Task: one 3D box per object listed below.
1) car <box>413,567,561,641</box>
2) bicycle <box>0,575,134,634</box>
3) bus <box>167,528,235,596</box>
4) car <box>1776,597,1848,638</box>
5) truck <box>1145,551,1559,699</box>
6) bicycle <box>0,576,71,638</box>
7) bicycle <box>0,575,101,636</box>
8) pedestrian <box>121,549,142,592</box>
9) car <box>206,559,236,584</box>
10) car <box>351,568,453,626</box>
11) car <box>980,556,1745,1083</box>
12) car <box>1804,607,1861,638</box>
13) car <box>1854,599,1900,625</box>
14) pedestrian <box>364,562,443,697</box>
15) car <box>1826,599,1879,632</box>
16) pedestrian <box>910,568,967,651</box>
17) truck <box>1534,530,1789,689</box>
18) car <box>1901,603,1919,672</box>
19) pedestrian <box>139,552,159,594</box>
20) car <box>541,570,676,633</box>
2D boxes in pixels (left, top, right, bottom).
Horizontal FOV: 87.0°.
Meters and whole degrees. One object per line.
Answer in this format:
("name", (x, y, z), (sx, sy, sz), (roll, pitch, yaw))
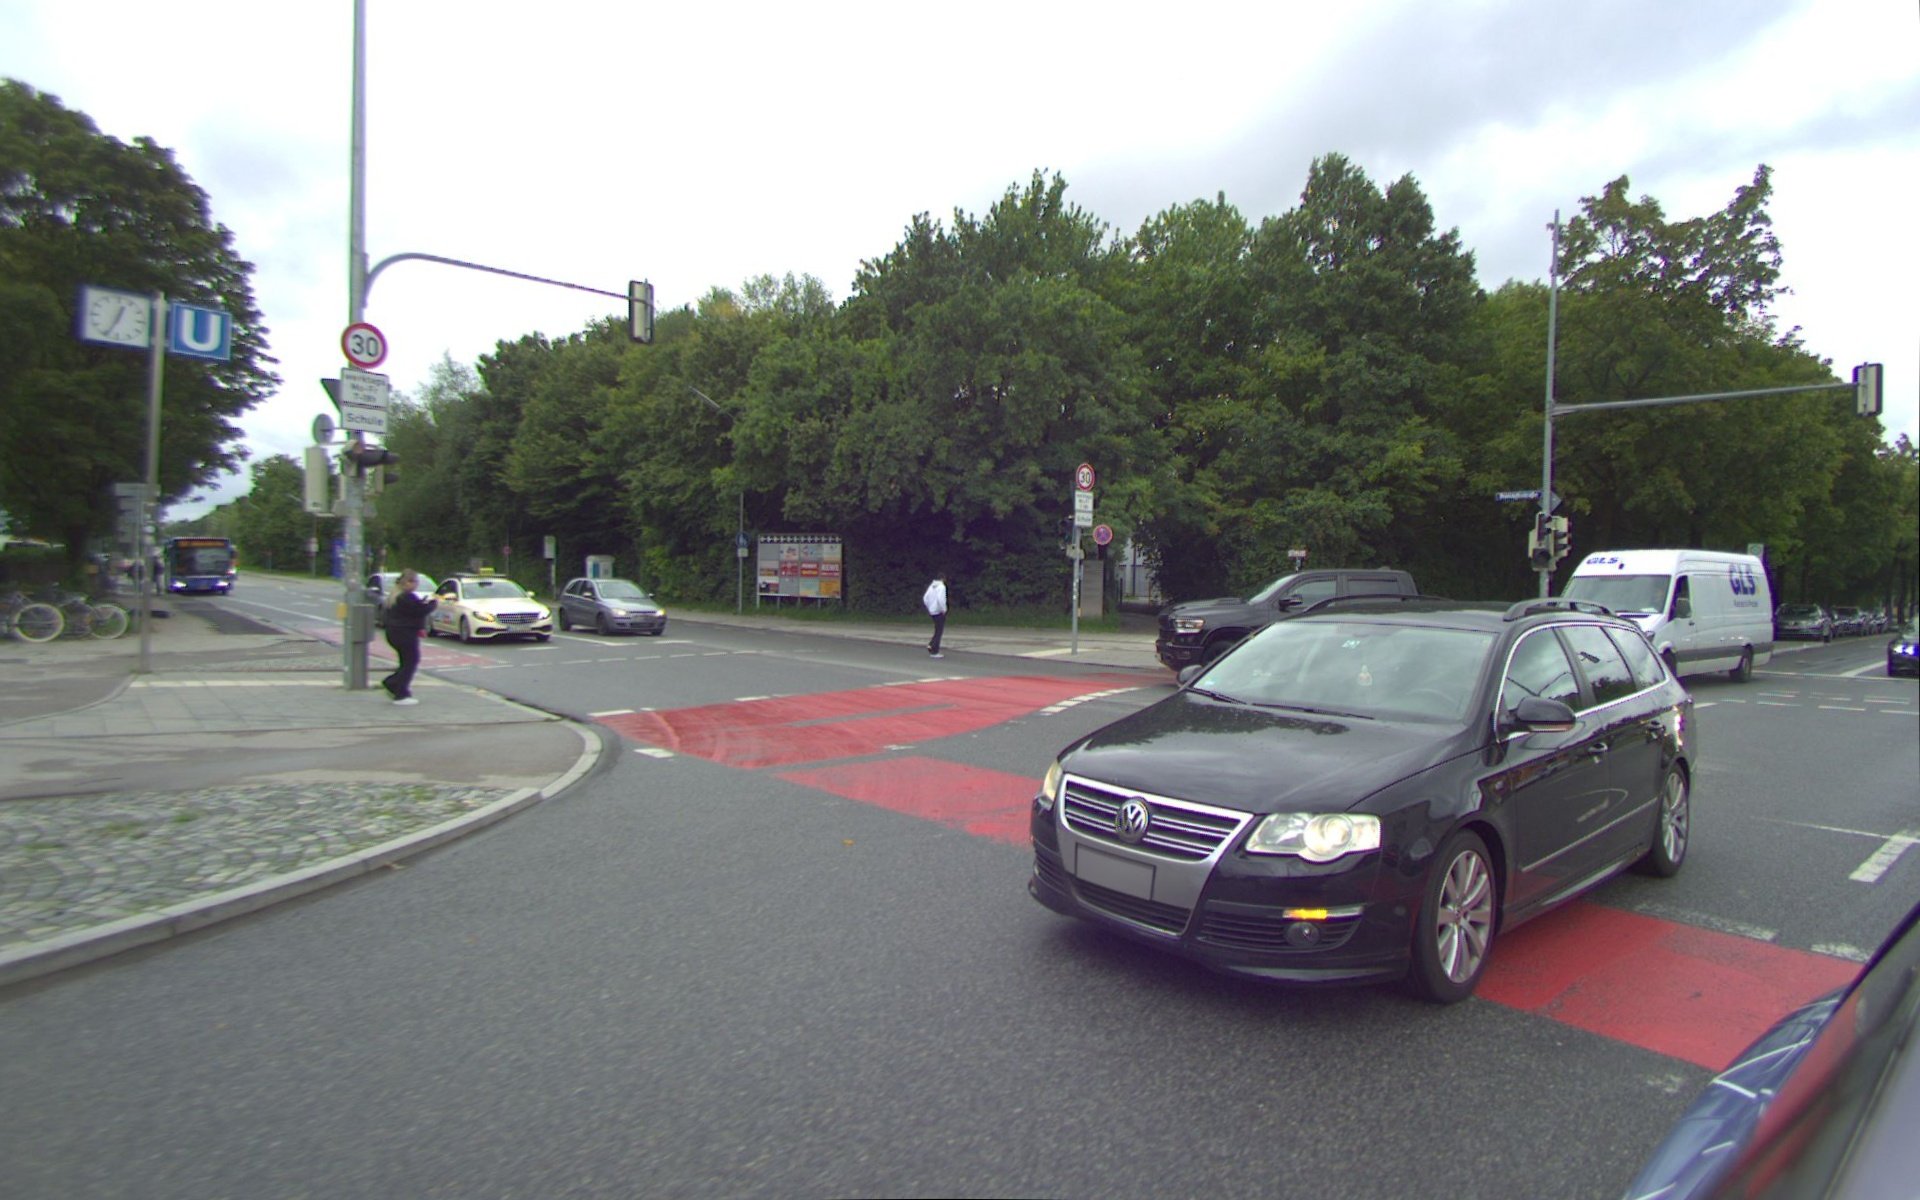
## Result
("car", (-11.120, 0.044, 23.634), (1.856, 1.516, 4.305), (1, 1, -43))
("bicycle", (-17.594, 0.091, 19.868), (2.073, 1.108, 0.610), (1, 1, -33))
("bus", (-42.034, -2.099, 56.053), (2.682, 3.323, 11.888), (1, 1, -37))
("car", (37.394, 0.738, 44.374), (4.322, 1.670, 1.882), (1, 1, -43))
("truck", (6.017, 0.339, 16.162), (5.704, 2.039, 2.105), (2, 1, 2))
("bicycle", (-17.446, 0.116, 18.228), (2.072, 1.108, 0.610), (1, 1, -32))
("bicycle", (-17.597, 0.094, 19.068), (2.073, 1.108, 0.610), (1, 1, -33))
("pedestrian", (-35.951, -1.273, 43.914), (0.595, 1.849, 0.708), (1, 1, -32))
("car", (-64.387, -2.474, 88.159), (1.964, 2.039, 3.997), (1, 1, -39))
("car", (-15.705, -0.122, 28.394), (1.600, 1.472, 3.942), (1, 1, -43))
("car", (2.361, 0.615, 5.075), (4.592, 1.493, 1.750), (1, 1, -43))
("car", (44.868, 1.124, 52.032), (4.183, 1.446, 1.750), (1, 1, -43))
("car", (56.681, 0.750, 62.537), (4.183, 1.485, 1.750), (1, 1, -43))
("pedestrian", (-6.650, 0.336, 12.125), (0.722, 1.557, 0.694), (1, 1, -21))
("car", (49.252, 0.828, 55.796), (4.183, 1.670, 1.750), (1, 1, -43))
("pedestrian", (-0.453, 0.193, 21.606), (0.758, 1.724, 0.926), (2, 1, 40))
("truck", (13.808, 0.157, 19.671), (7.094, 2.636, 1.999), (0, 1, -38))
("car", (22.475, 0.837, 22.472), (4.589, 1.447, 1.818), (1, 1, -41))
("pedestrian", (-36.609, -1.209, 45.698), (0.595, 1.849, 0.708), (1, 1, -31))
("car", (-9.167, 0.001, 26.258), (3.935, 1.472, 1.603), (3, 1, 42))
